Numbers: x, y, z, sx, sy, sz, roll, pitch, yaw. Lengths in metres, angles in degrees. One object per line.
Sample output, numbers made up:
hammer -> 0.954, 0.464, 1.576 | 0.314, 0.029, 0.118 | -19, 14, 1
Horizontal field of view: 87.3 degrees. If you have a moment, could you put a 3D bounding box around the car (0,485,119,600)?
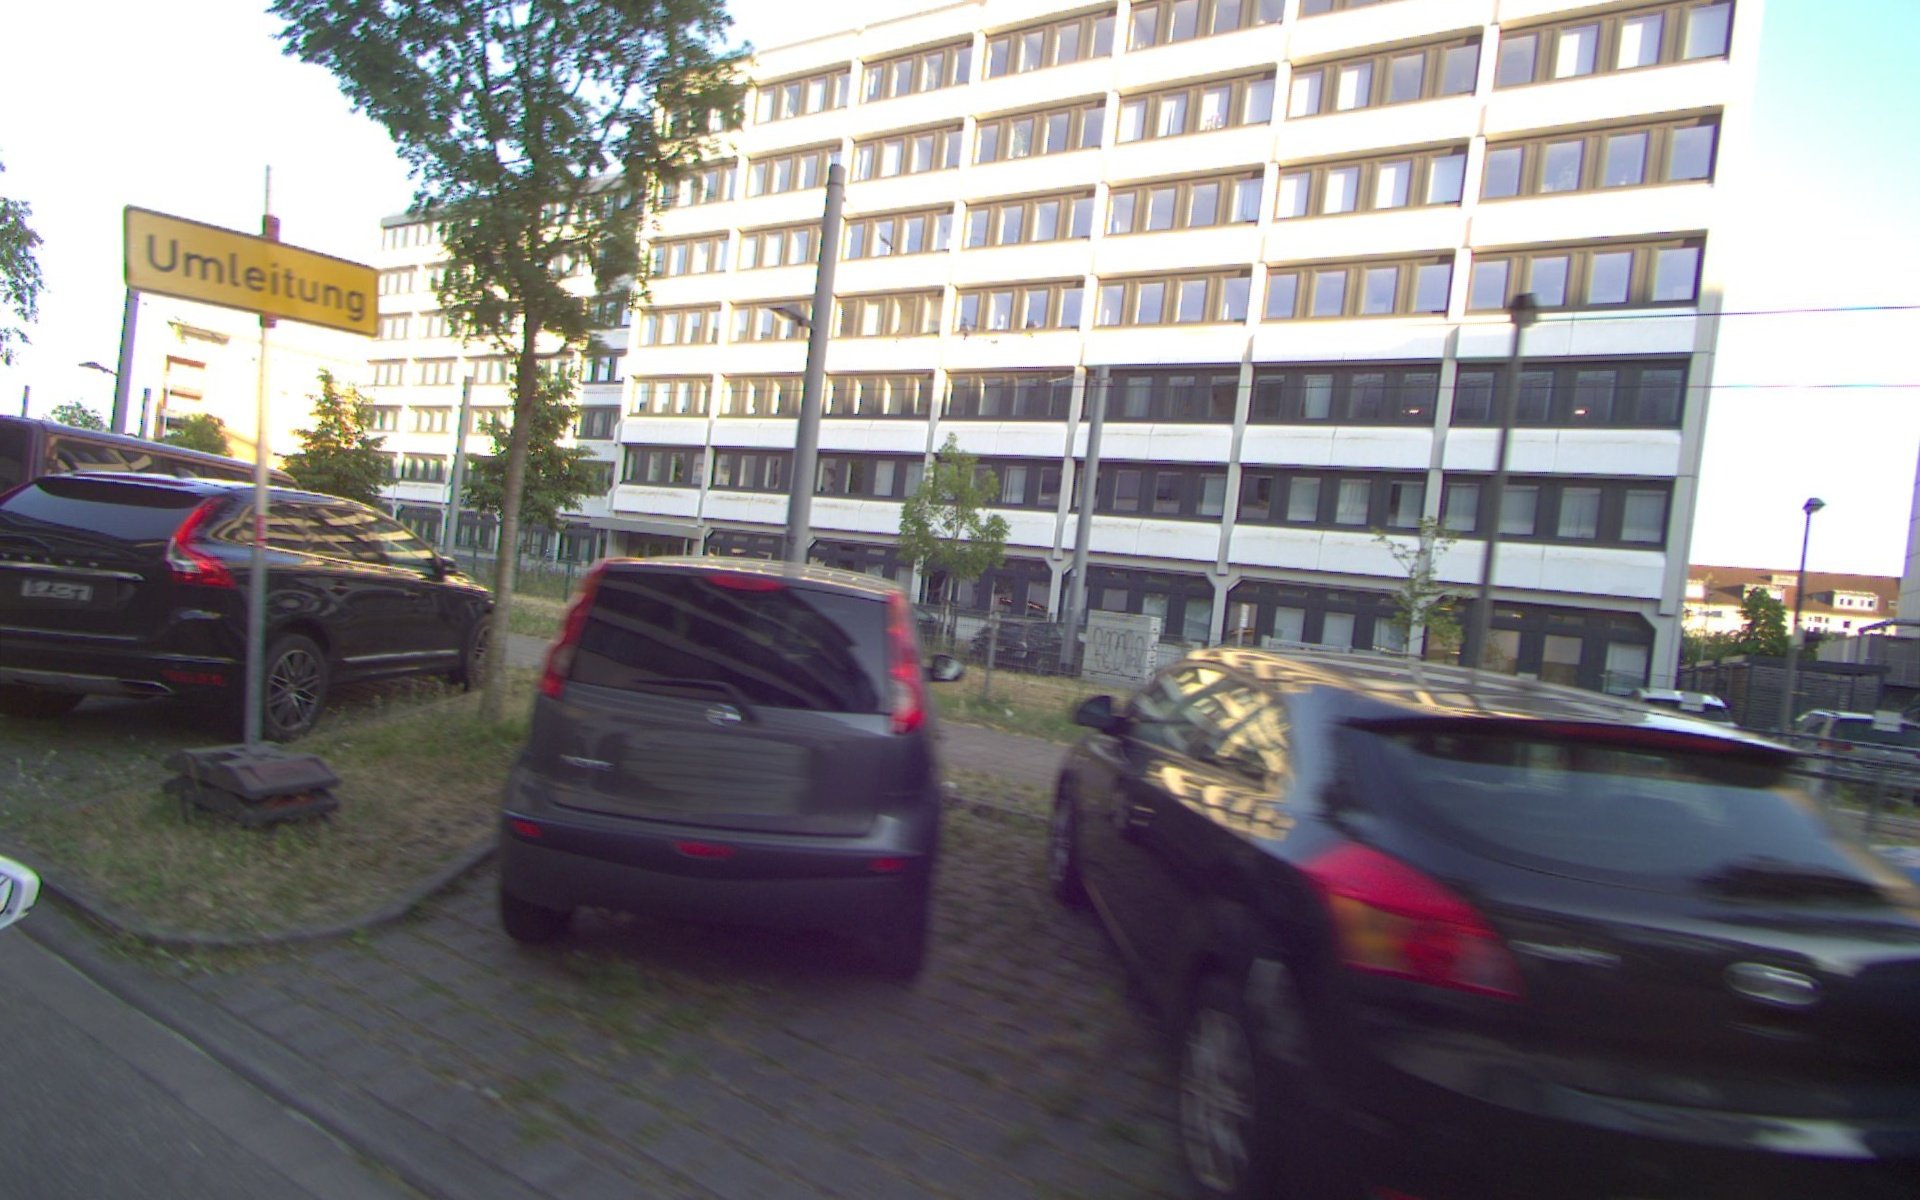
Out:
car -> -13.335, -0.884, 13.007 | 1.732, 1.459, 3.778 | 8, -1, -4

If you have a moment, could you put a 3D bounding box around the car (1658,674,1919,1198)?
car -> 4.026, 1.183, 2.218 | 1.893, 1.540, 3.997 | 6, 0, -4

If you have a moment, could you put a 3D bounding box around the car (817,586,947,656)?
car -> -2.122, 0.647, 28.465 | 1.565, 1.413, 3.998 | 8, -3, 30

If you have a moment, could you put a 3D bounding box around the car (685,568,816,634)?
car -> -6.363, 0.082, 31.028 | 1.565, 1.413, 3.998 | 8, -3, 30

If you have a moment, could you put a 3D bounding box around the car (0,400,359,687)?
car -> -7.891, -0.473, 9.245 | 1.838, 2.059, 4.604 | 8, -1, -2

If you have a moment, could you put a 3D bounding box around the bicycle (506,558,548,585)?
bicycle -> -25.019, -1.666, 58.105 | 2.391, 1.214, 0.830 | 7, -2, 32

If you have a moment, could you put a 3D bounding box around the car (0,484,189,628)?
car -> -10.746, -0.552, 11.079 | 1.610, 1.482, 3.778 | 8, -1, -4

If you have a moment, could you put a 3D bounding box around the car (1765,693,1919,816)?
car -> 15.357, 2.569, 17.365 | 1.648, 1.506, 3.988 | 7, 2, 32

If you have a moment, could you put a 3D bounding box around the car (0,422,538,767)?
car -> -5.251, -0.015, 7.935 | 1.838, 1.769, 4.604 | 8, -2, -2

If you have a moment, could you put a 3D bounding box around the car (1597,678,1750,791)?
car -> 13.285, 2.413, 18.972 | 1.793, 1.533, 3.990 | 8, 2, 30

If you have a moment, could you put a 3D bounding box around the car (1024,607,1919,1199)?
car -> 1.419, 0.878, 3.924 | 1.705, 1.483, 3.998 | 7, 0, -3

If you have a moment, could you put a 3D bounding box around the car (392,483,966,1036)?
car -> -0.937, 0.618, 5.340 | 1.705, 1.613, 4.003 | 8, -2, 0

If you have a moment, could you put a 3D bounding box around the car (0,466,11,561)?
car -> -18.020, -1.618, 15.953 | 1.936, 1.661, 3.985 | 6, 1, 4

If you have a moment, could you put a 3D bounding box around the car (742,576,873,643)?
car -> -4.431, 0.329, 29.770 | 1.565, 1.413, 3.998 | 8, -3, 30
